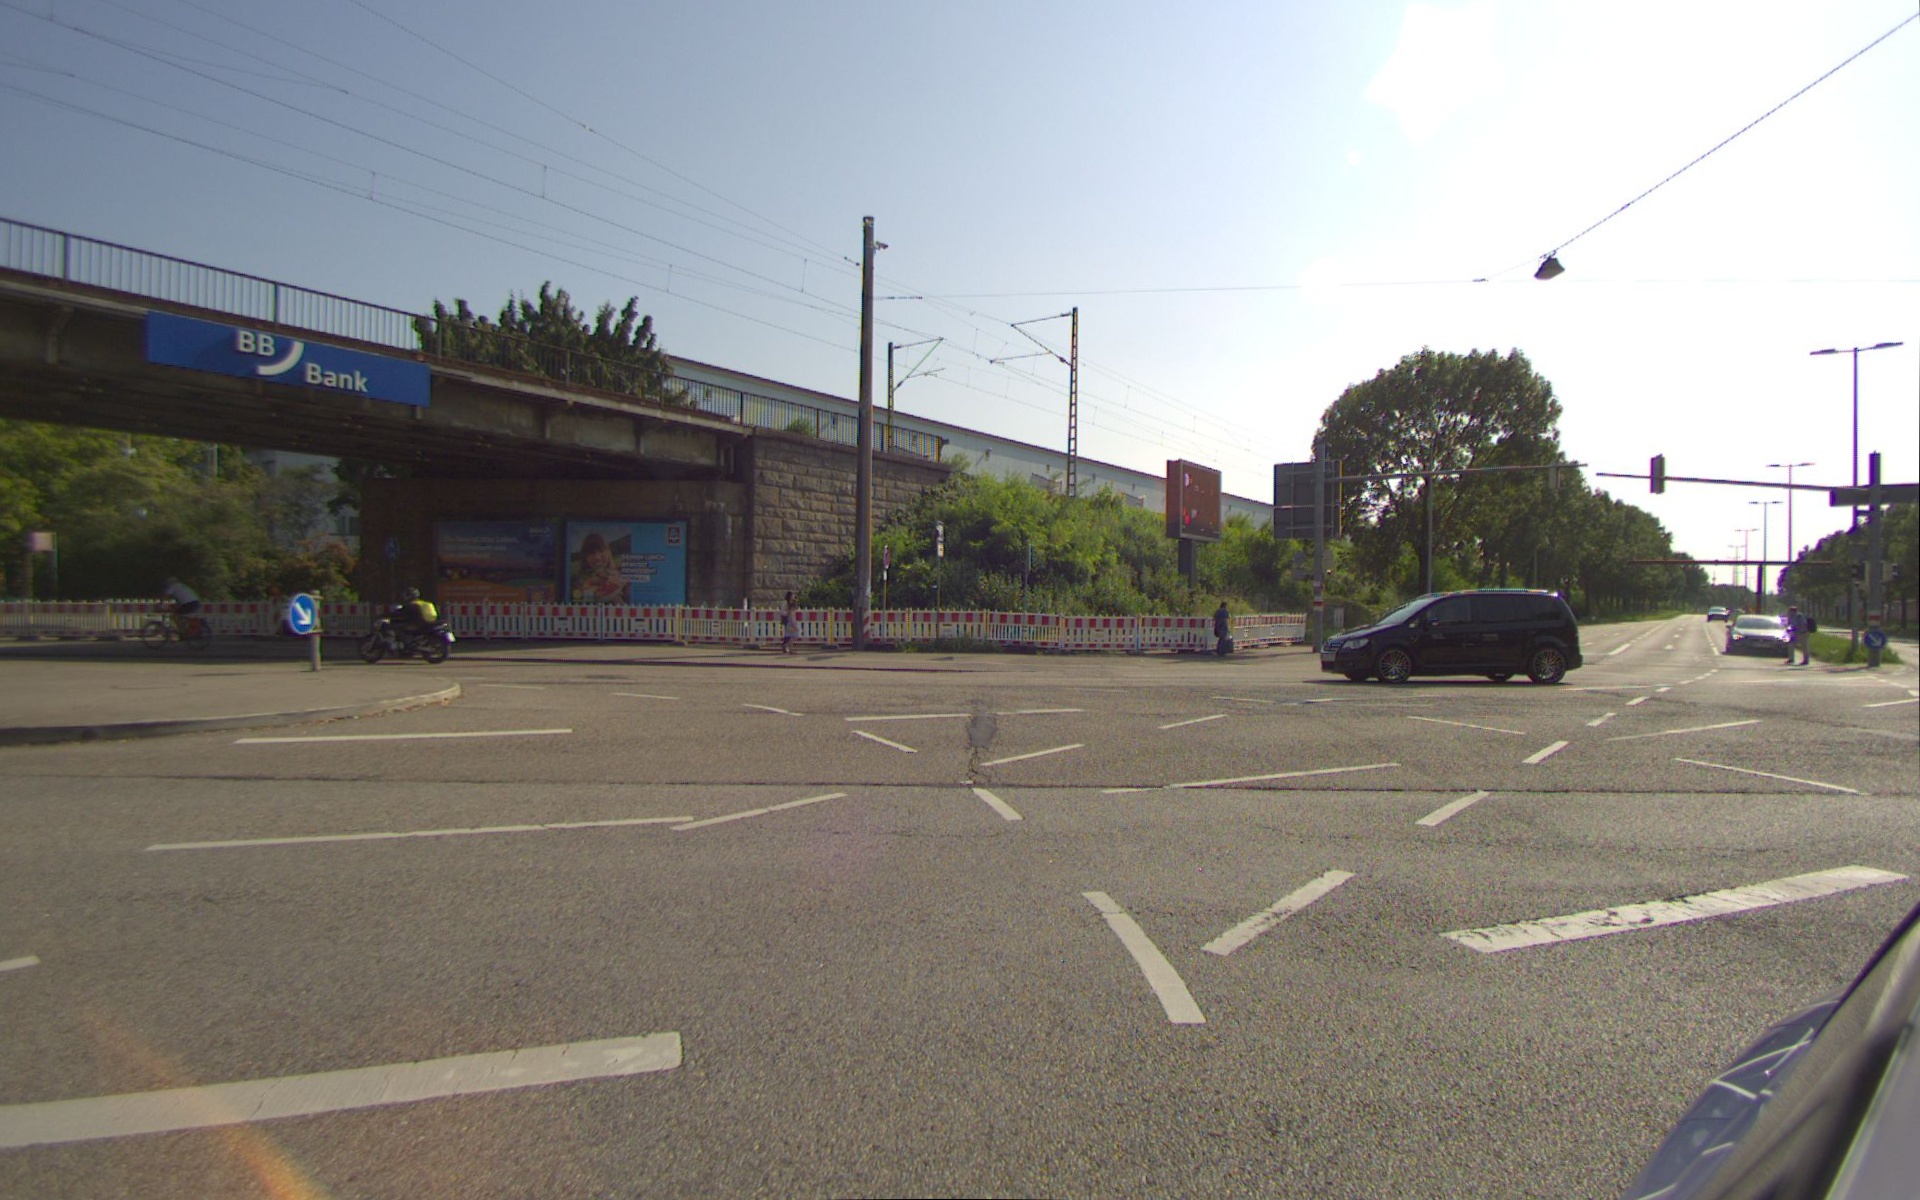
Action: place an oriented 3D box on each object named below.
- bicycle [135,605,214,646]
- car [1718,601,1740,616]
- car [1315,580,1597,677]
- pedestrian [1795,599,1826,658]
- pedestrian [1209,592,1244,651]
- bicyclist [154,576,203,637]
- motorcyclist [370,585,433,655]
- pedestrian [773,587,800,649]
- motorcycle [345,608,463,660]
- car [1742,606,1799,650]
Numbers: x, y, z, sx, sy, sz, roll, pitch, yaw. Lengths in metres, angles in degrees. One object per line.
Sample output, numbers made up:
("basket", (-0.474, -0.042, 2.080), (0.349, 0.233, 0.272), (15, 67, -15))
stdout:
("bicycle", (-18.939, 0.613, 24.410), (1.528, 0.944, 0.449), (0, 2, -1))
("car", (83.823, 0.889, 110.292), (1.857, 1.614, 3.944), (1, 0, 39))
("car", (8.729, 0.510, 18.094), (4.115, 1.608, 1.781), (0, -2, 1))
("pedestrian", (25.835, 0.859, 30.734), (0.643, 1.746, 0.580), (1, 1, 35))
("pedestrian", (7.418, 0.581, 28.130), (0.647, 1.594, 0.748), (2, 2, 41))
("bicyclist", (-18.830, 0.150, 24.397), (0.797, 1.443, 0.443), (0, 2, -1))
("motorcyclist", (-11.928, 0.415, 21.641), (0.923, 1.449, 0.743), (1, 0, 3))
("pedestrian", (-4.517, 0.455, 26.340), (0.623, 1.594, 0.490), (0, 0, 0))
("motorcycle", (-11.876, 0.714, 21.641), (2.126, 1.034, 0.755), (1, 0, 3))
("car", (29.100, 0.962, 36.302), (1.539, 1.460, 3.345), (1, 0, 40))
